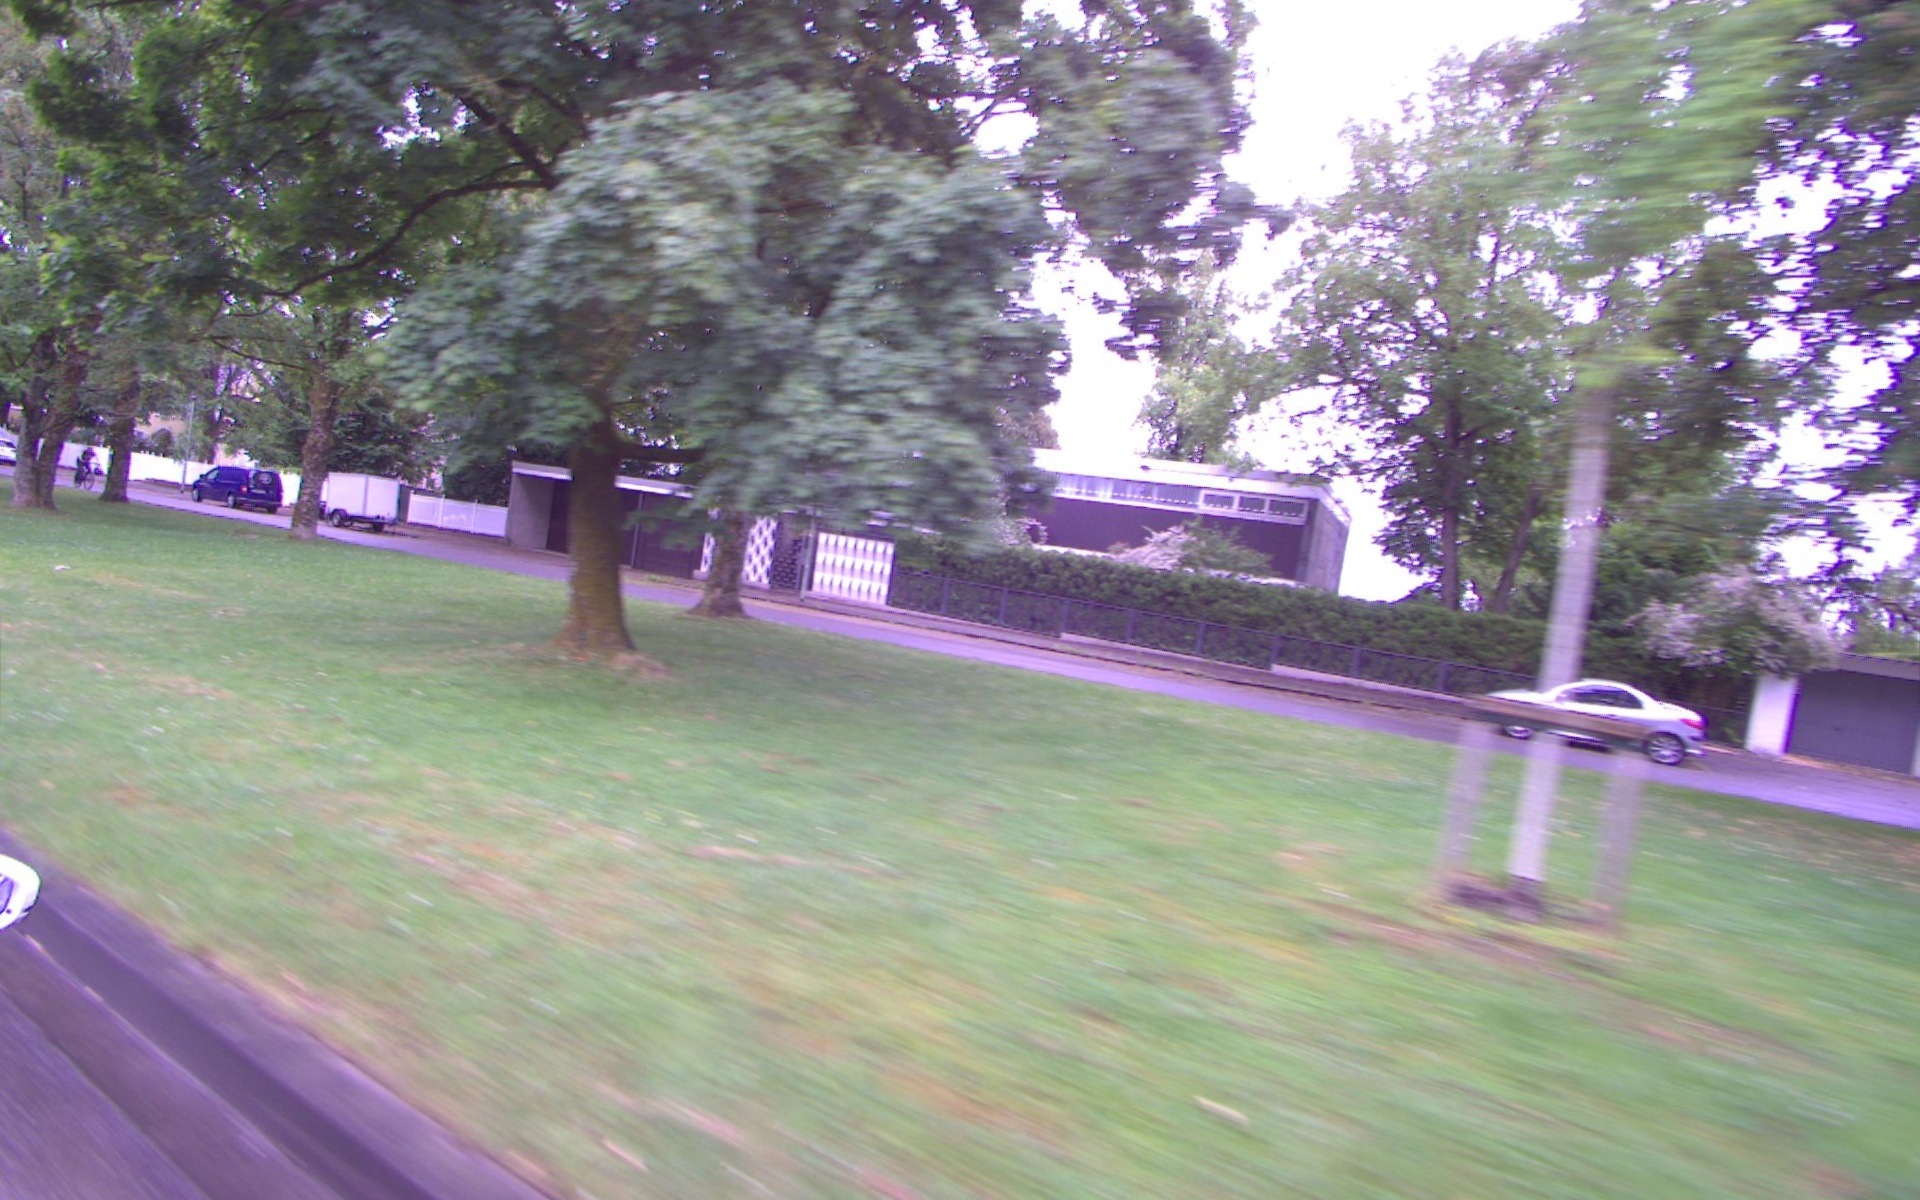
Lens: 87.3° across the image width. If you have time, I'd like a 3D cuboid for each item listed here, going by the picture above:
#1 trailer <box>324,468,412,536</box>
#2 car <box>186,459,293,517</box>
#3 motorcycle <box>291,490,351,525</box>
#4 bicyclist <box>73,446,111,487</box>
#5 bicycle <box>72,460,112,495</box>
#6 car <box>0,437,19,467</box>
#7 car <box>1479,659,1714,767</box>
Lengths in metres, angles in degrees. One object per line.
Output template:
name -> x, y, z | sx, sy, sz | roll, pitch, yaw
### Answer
trailer -> -22.960, -3.809, 39.030 | 2.898, 2.183, 1.438 | 9, 3, 27
car -> -31.262, -4.880, 43.608 | 4.568, 1.834, 1.943 | 10, 4, 29
motorcycle -> -25.567, -3.700, 40.277 | 1.876, 1.107, 0.651 | 7, 3, -39
bicyclist -> -33.690, -5.182, 39.042 | 0.983, 1.408, 0.745 | 8, 2, 32
bicycle -> -33.679, -4.760, 39.011 | 1.832, 1.153, 0.596 | 8, 2, 32
car -> -54.113, -8.402, 55.705 | 3.939, 1.428, 1.618 | 10, 3, 27
car -> 12.416, 2.147, 19.911 | 3.646, 1.394, 1.682 | 8, 3, 29
